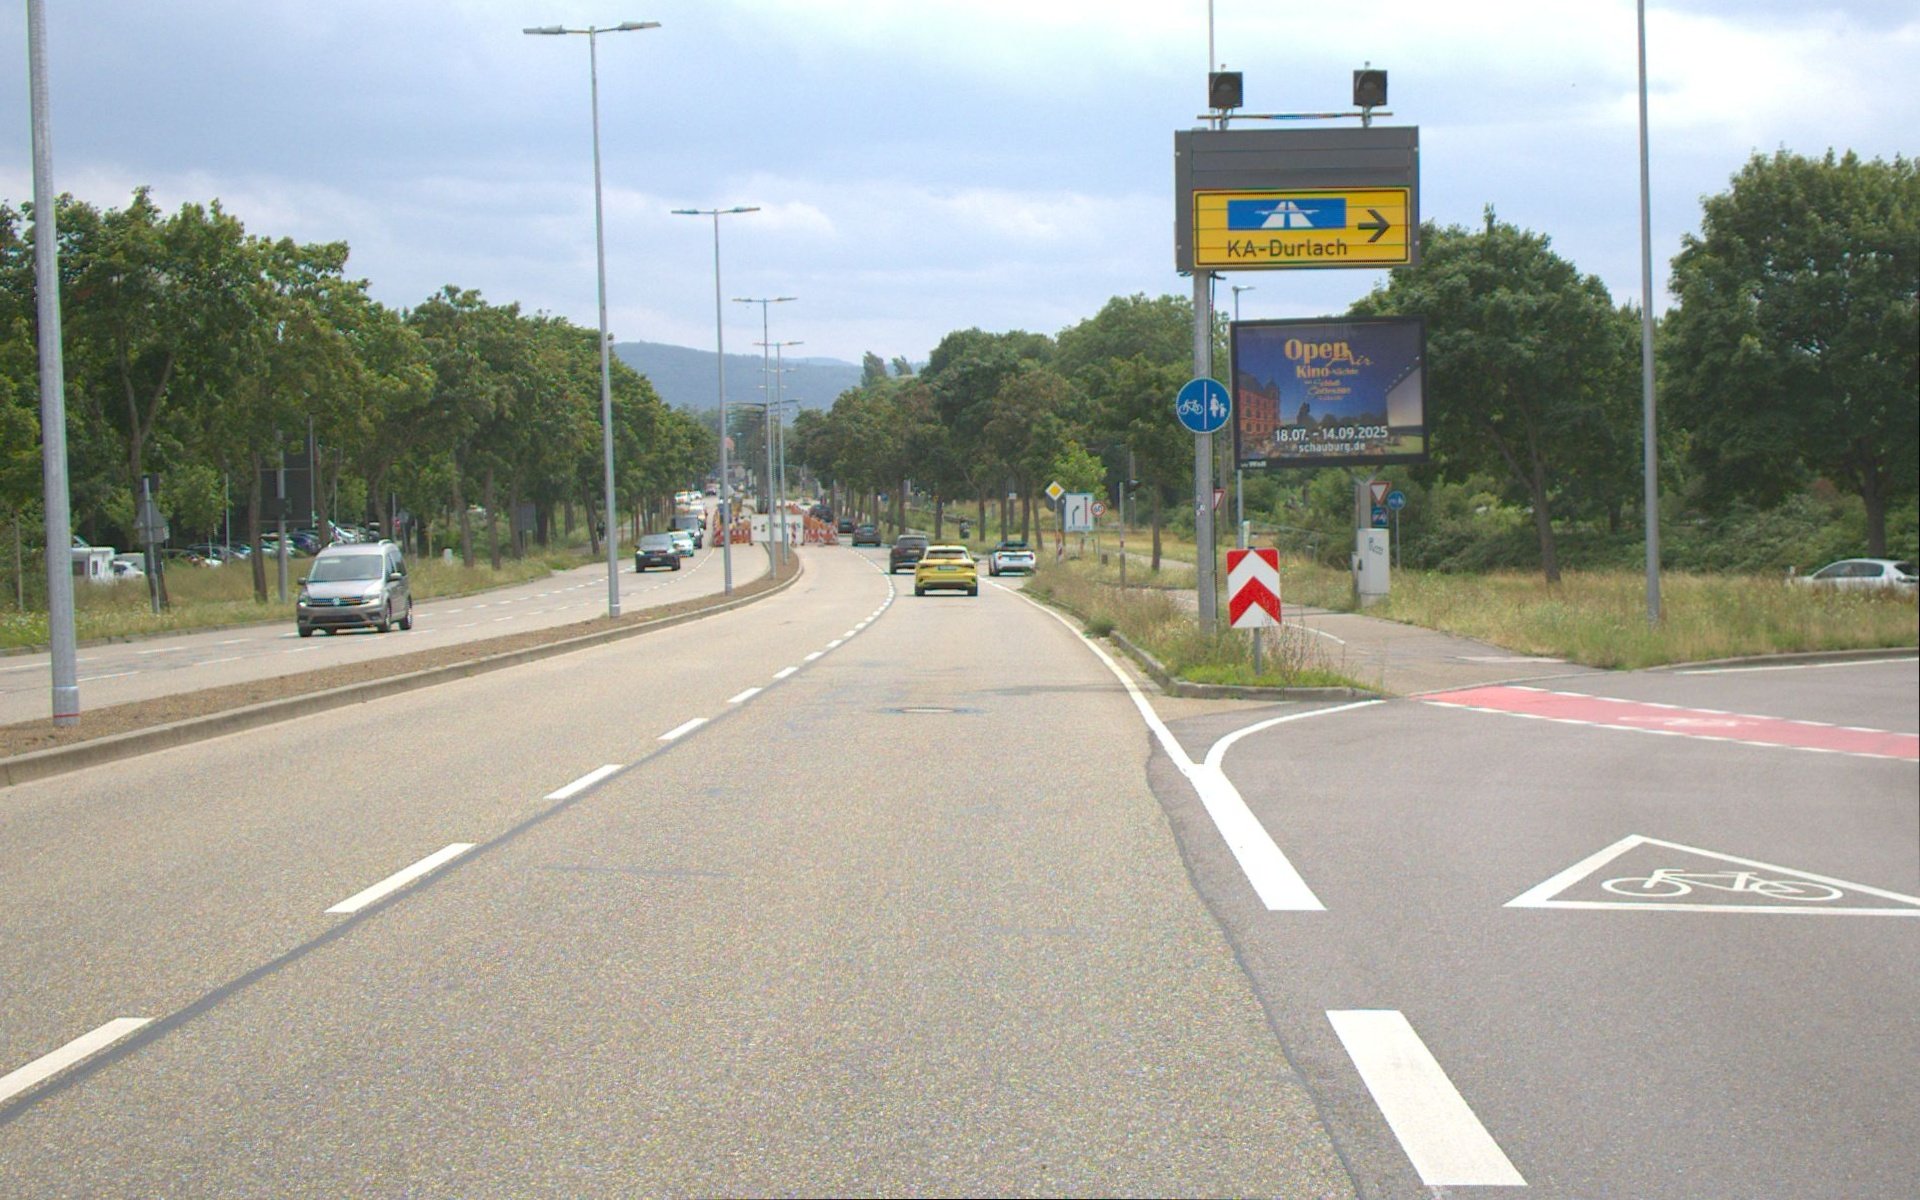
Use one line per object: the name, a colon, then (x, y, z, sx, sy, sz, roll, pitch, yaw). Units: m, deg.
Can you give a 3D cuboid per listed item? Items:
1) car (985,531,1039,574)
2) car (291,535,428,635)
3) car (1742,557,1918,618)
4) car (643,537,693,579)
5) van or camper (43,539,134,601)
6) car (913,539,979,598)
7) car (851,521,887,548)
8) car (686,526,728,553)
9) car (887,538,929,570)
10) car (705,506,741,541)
car: (2.115, -1.958, 141.304, 2.013, 1.664, 4.001, -1, 2, -1)
car: (-11.890, -0.328, 68.371, 1.902, 1.803, 4.540, -1, 2, 0)
car: (22.174, -0.343, 87.687, 3.997, 1.459, 1.768, 1, 3, 41)
car: (-13.921, -2.021, 164.074, 1.993, 1.805, 4.798, -2, 2, -1)
van or camper: (-38.667, -1.353, 152.660, 2.471, 2.532, 6.722, -1, 2, -2)
car: (-0.431, -0.934, 99.221, 1.793, 1.556, 4.001, -1, 2, -1)
car: (-5.865, -4.225, 221.416, 2.206, 1.678, 4.001, -1, 2, -1)
car: (-14.535, -3.491, 197.858, 1.993, 1.426, 4.688, -2, 2, 0)
car: (-2.202, -1.948, 144.743, 1.667, 1.265, 4.001, -1, 2, -1)
car: (-15.589, -5.031, 226.562, 2.095, 2.193, 6.005, -2, 2, -2)
